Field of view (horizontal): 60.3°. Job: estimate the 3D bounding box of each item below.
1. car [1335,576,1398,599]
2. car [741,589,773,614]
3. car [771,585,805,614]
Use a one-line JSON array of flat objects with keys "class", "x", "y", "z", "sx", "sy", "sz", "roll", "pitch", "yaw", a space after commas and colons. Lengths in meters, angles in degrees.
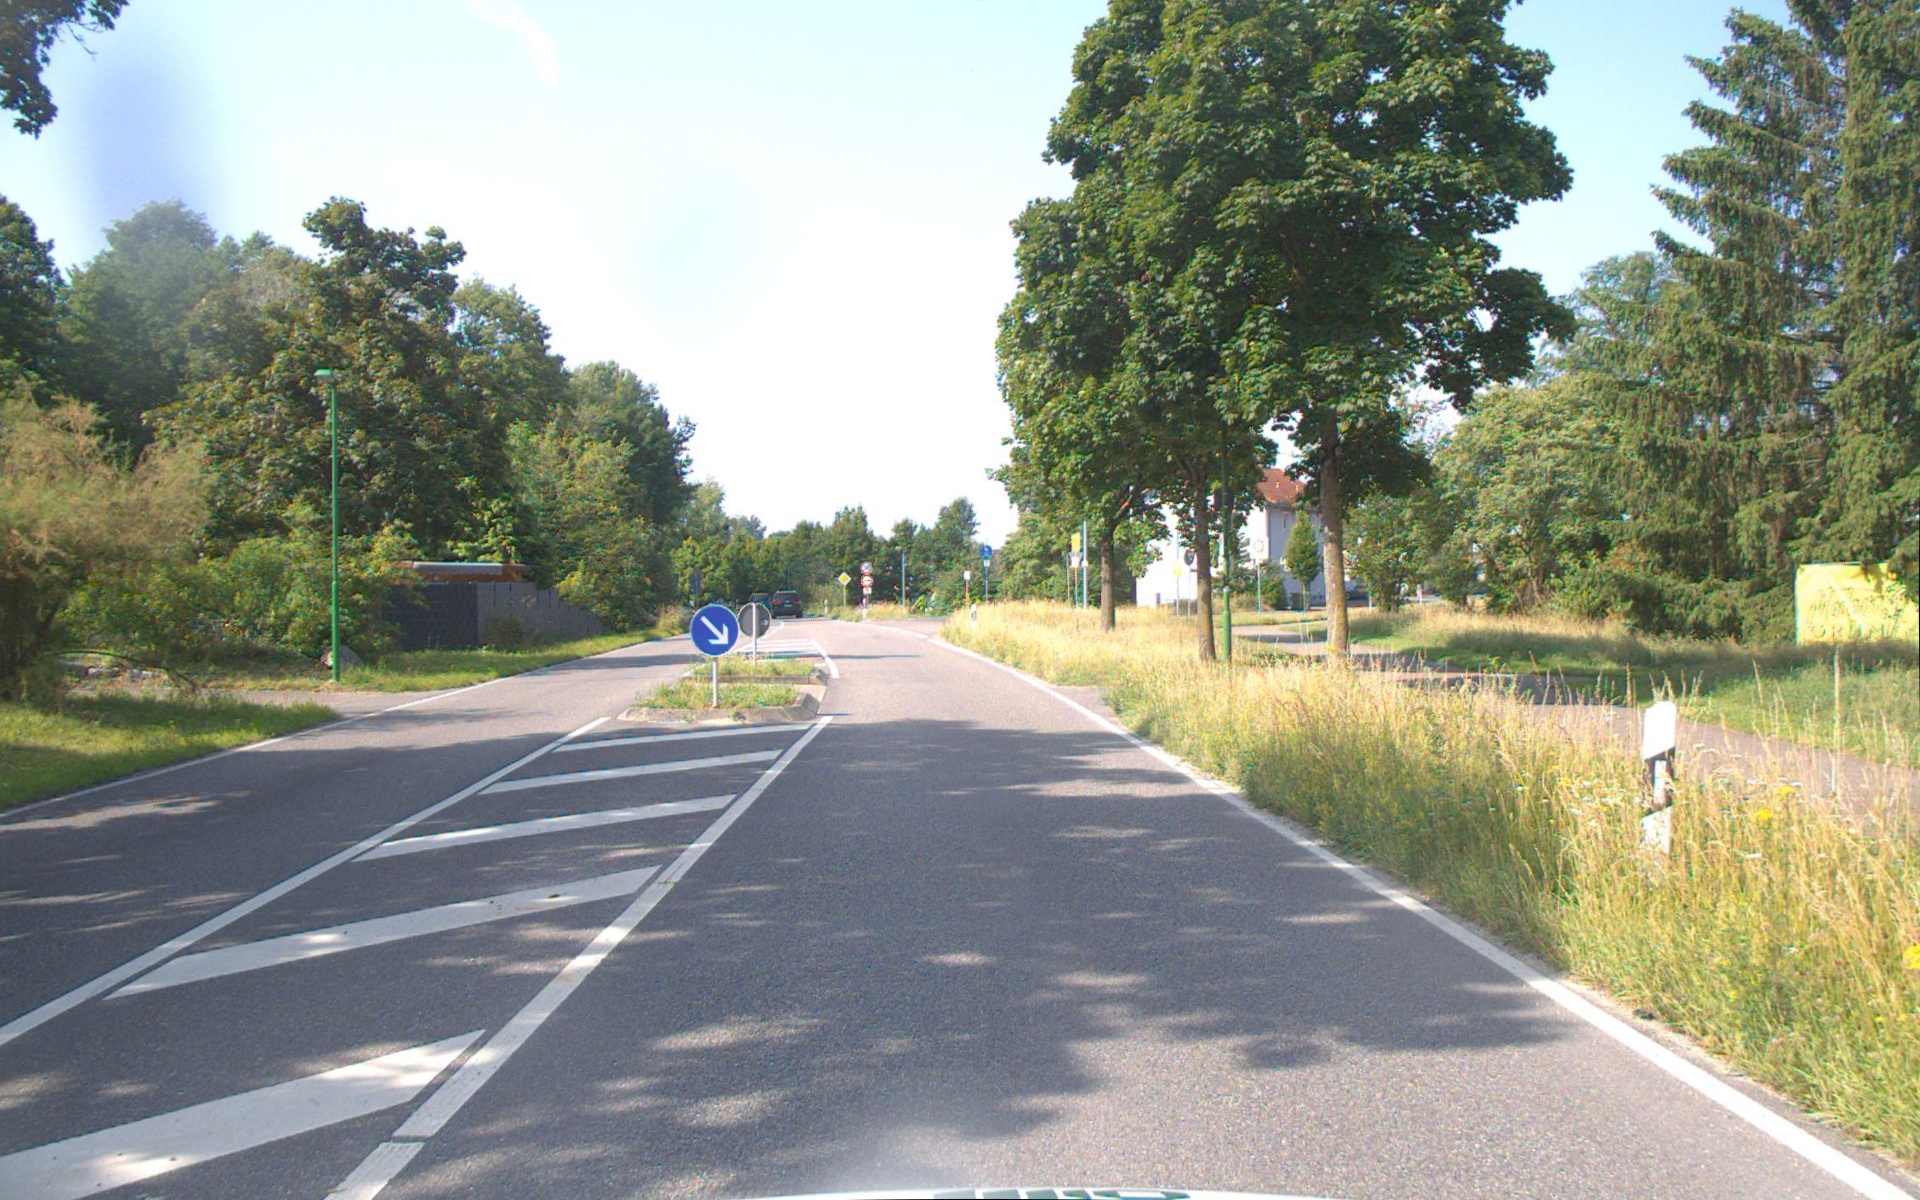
[{"class": "car", "x": 31.283, "y": -0.961, "z": 127.384, "sx": 4.368, "sy": 1.728, "sz": 1.766, "roll": 1, "pitch": 0, "yaw": 34}, {"class": "car", "x": -15.219, "y": 0.104, "z": 123.961, "sx": 1.970, "sy": 1.802, "sz": 3.986, "roll": -1, "pitch": 1, "yaw": -13}, {"class": "car", "x": -10.915, "y": -0.054, "z": 104.655, "sx": 1.890, "sy": 1.802, "sz": 3.991, "roll": 0, "pitch": 1, "yaw": -10}]
